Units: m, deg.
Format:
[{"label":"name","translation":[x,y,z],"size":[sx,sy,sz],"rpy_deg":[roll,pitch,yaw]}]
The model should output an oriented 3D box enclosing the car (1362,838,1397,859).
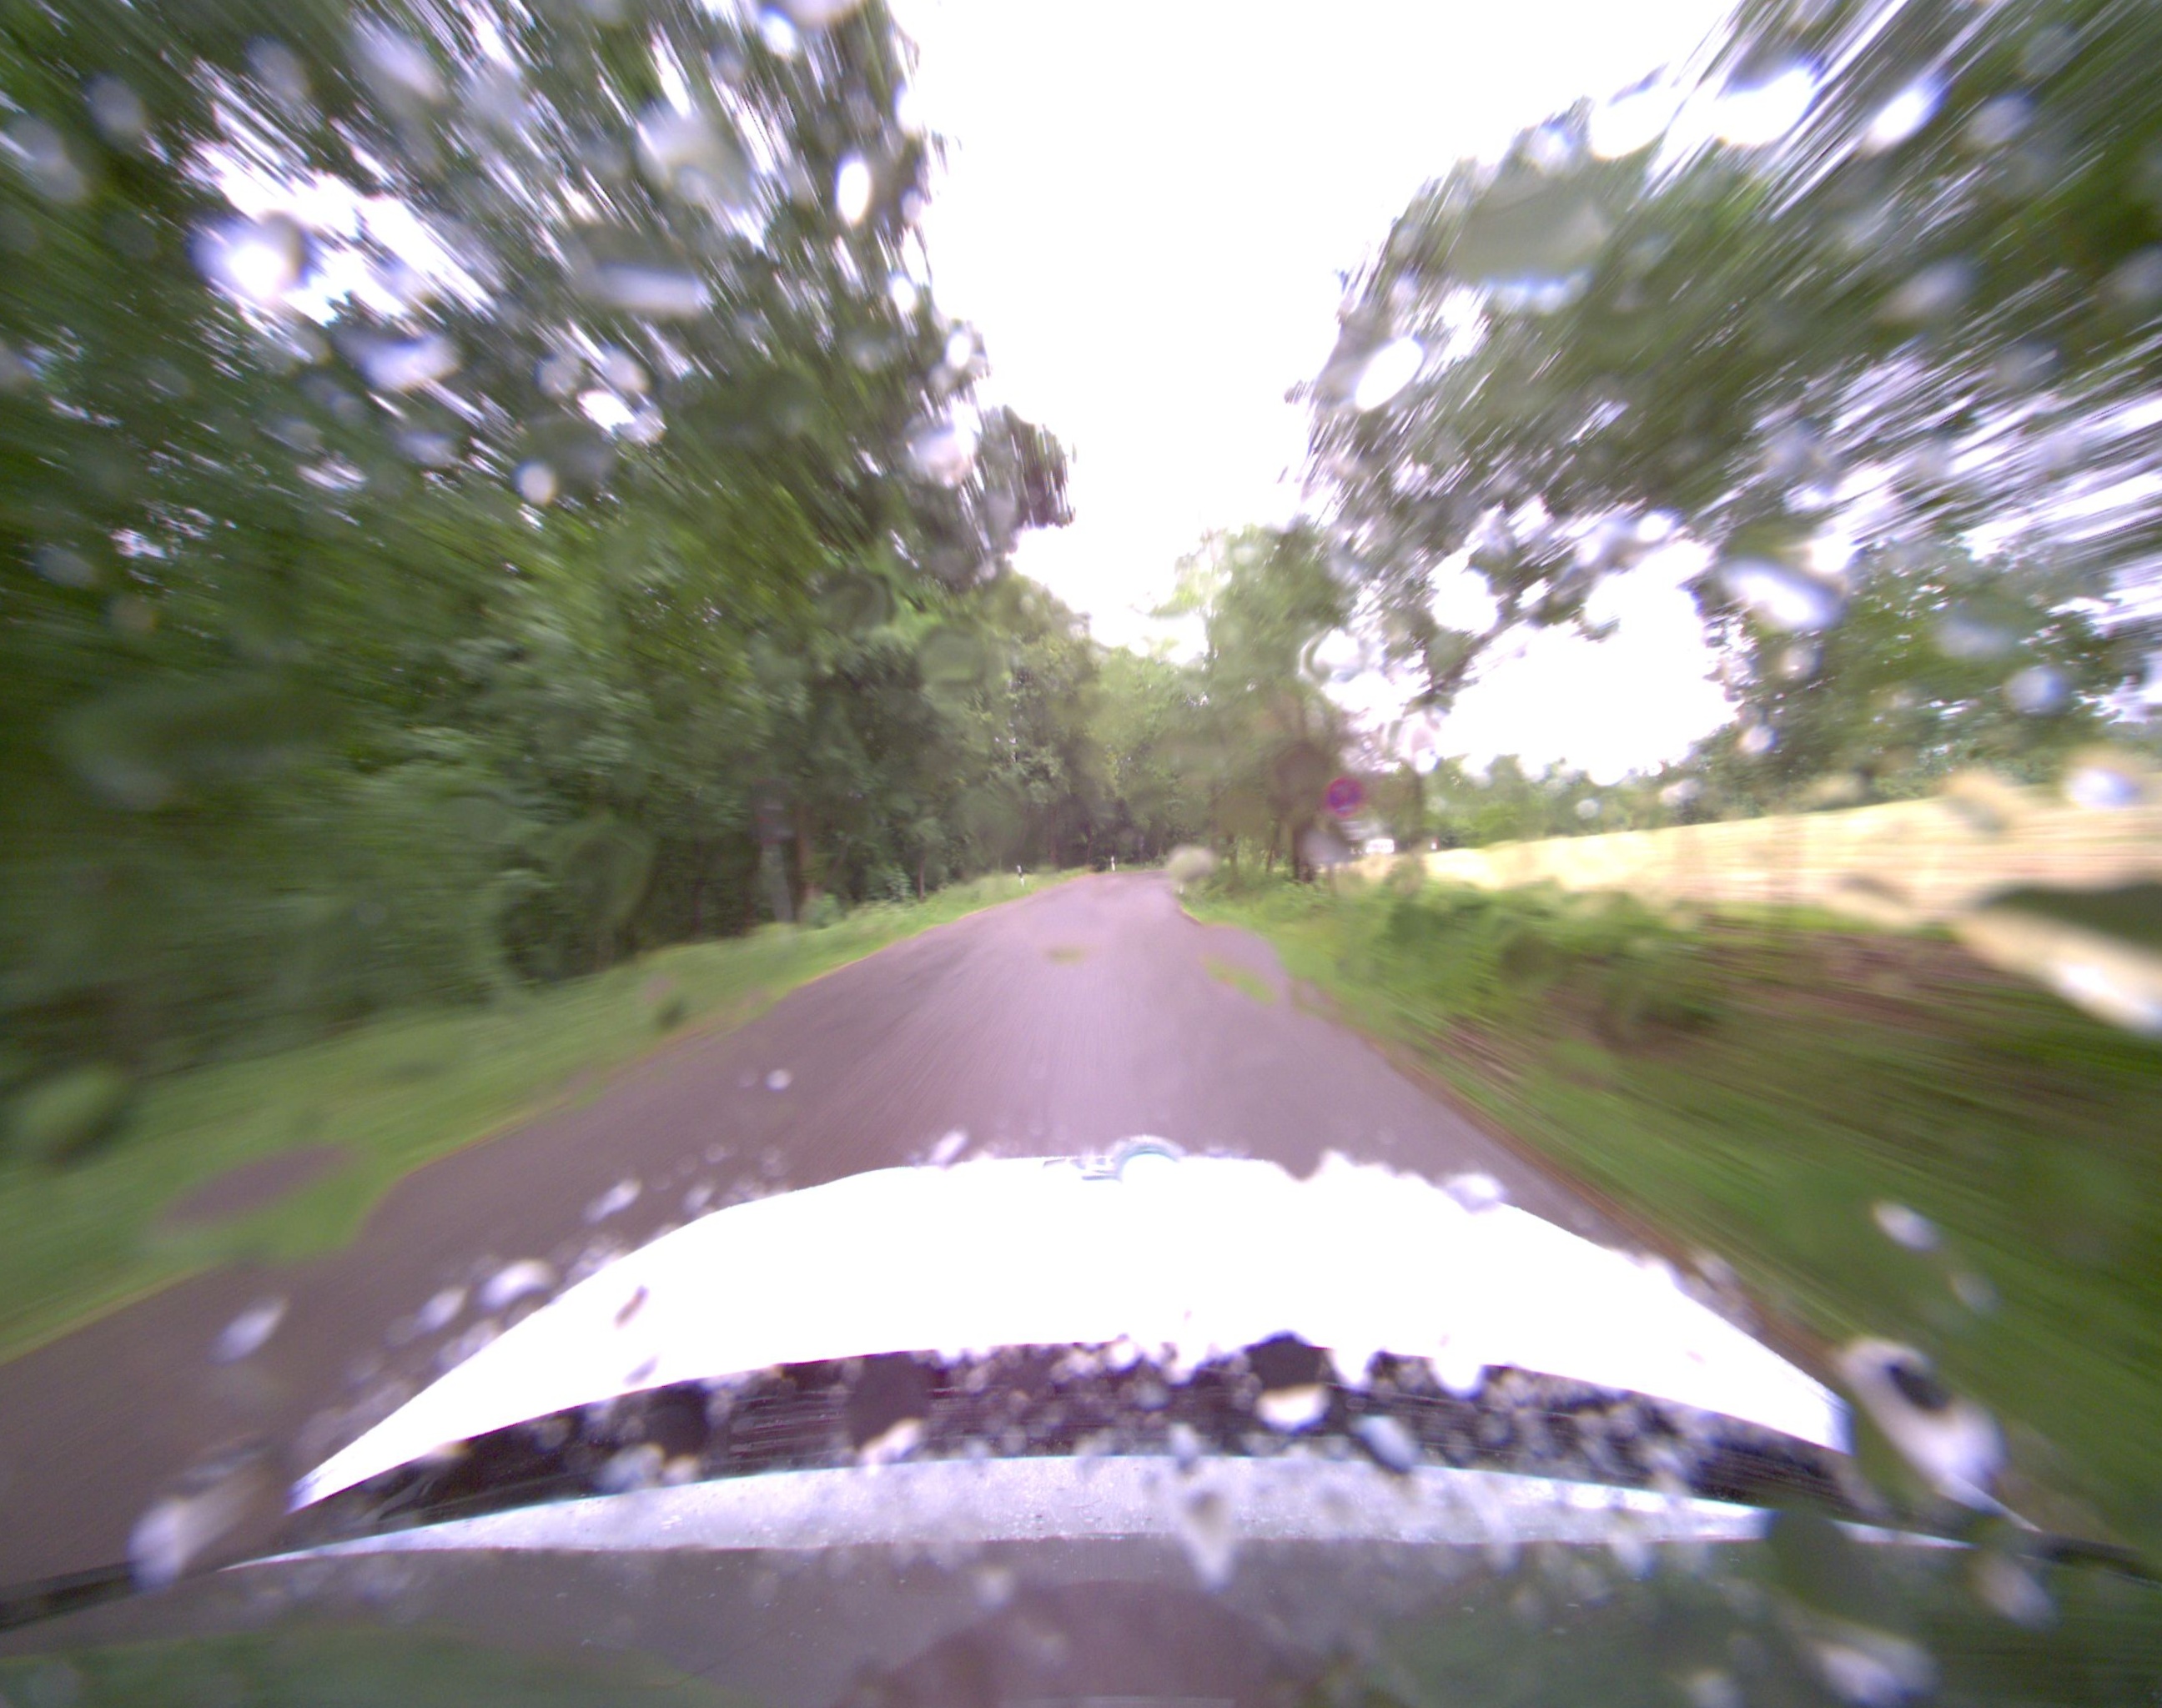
[{"label":"car","translation":[41.918,-0.778,114.157],"size":[2.251,2.697,6.086],"rpy_deg":[-3,0,43]}]
